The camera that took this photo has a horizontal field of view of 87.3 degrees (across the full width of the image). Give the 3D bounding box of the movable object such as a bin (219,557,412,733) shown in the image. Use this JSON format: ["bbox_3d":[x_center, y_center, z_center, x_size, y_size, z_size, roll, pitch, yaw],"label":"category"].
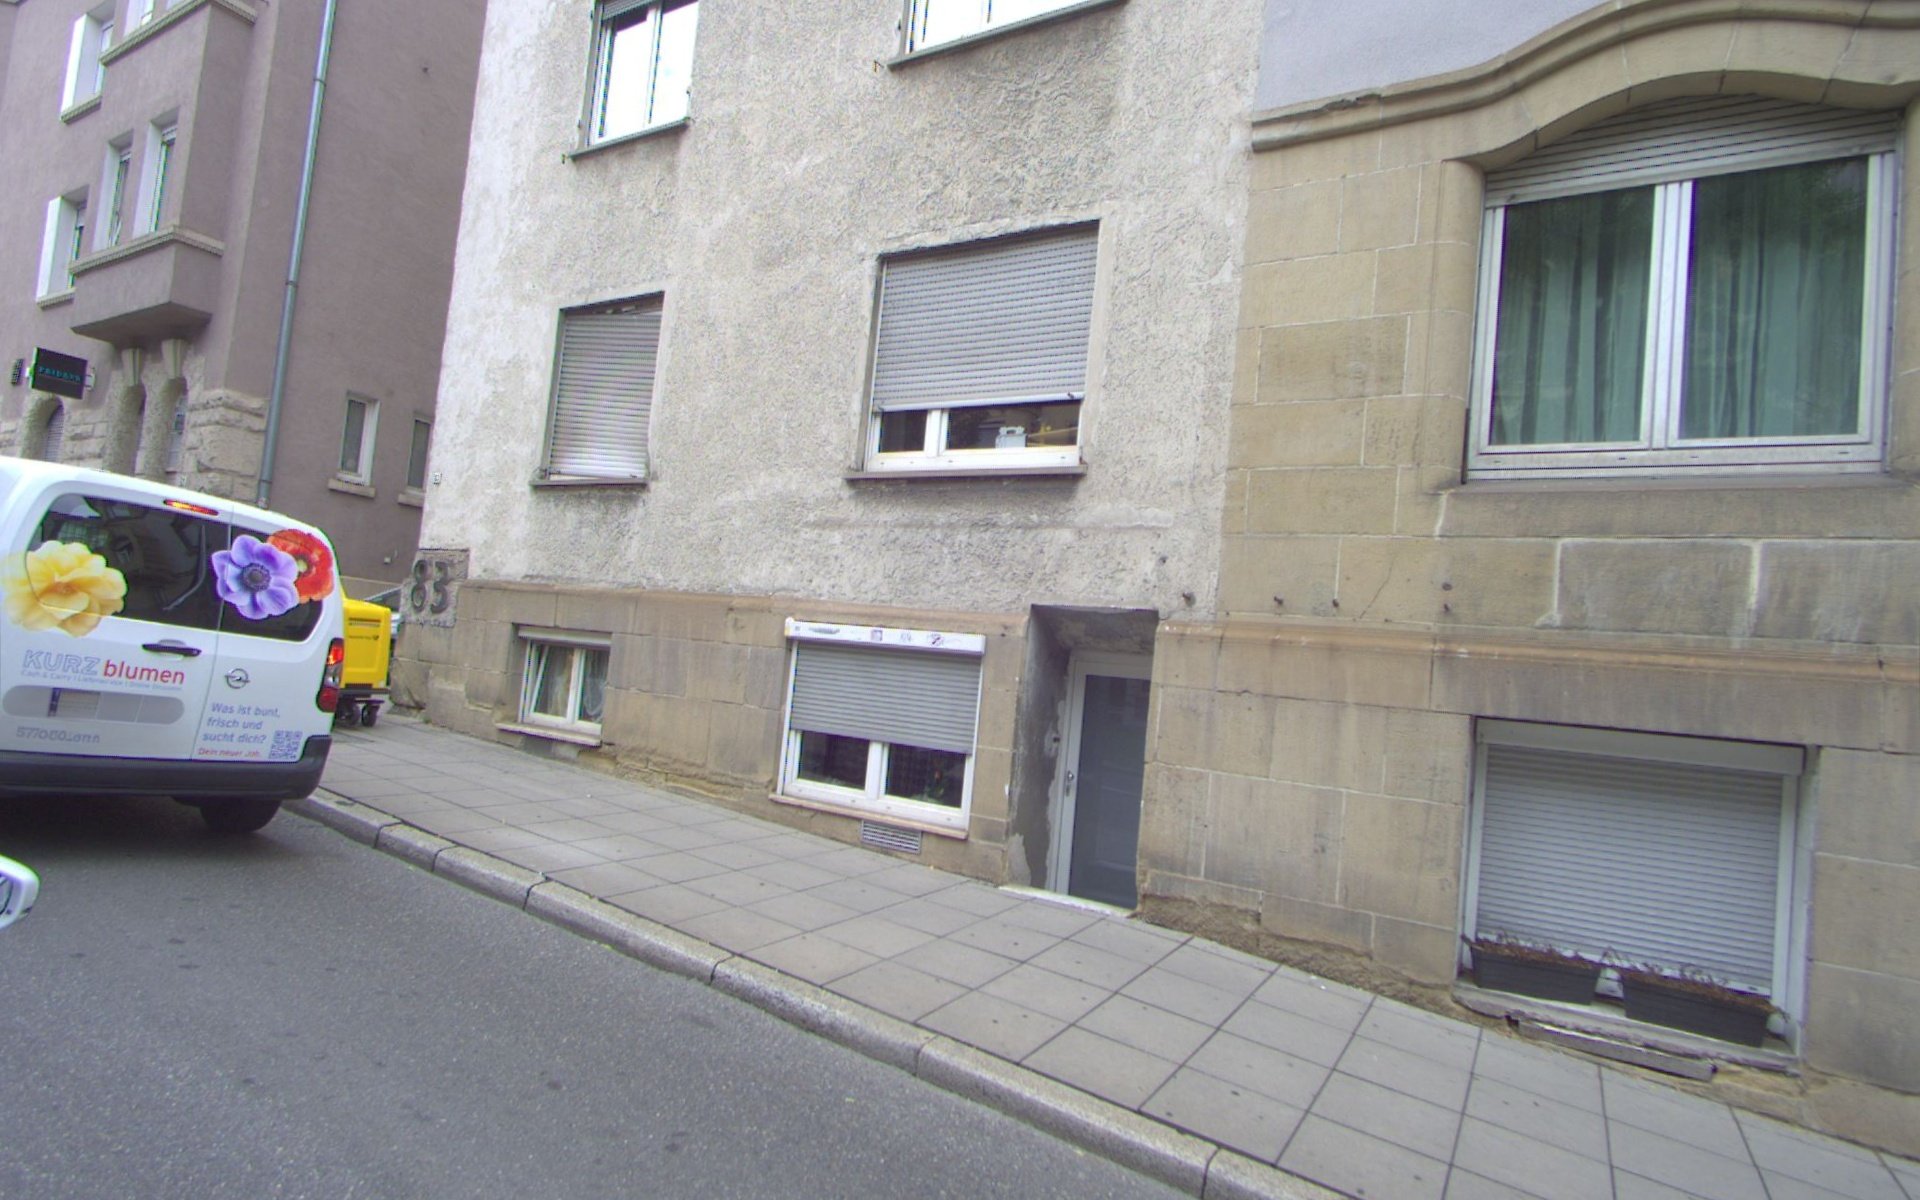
[{"bbox_3d":[-6.119,0.413,9.536,1.665,1.437,0.721,6,-2,30],"label":"movable object such as a bin"}]

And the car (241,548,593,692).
[{"bbox_3d":[-7.642,0.379,14.555,1.770,1.419,3.997,10,-2,32],"label":"car"}]

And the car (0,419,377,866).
[{"bbox_3d":[-5.729,0.089,5.997,4.943,1.844,1.853,5,-5,36],"label":"car"}]
